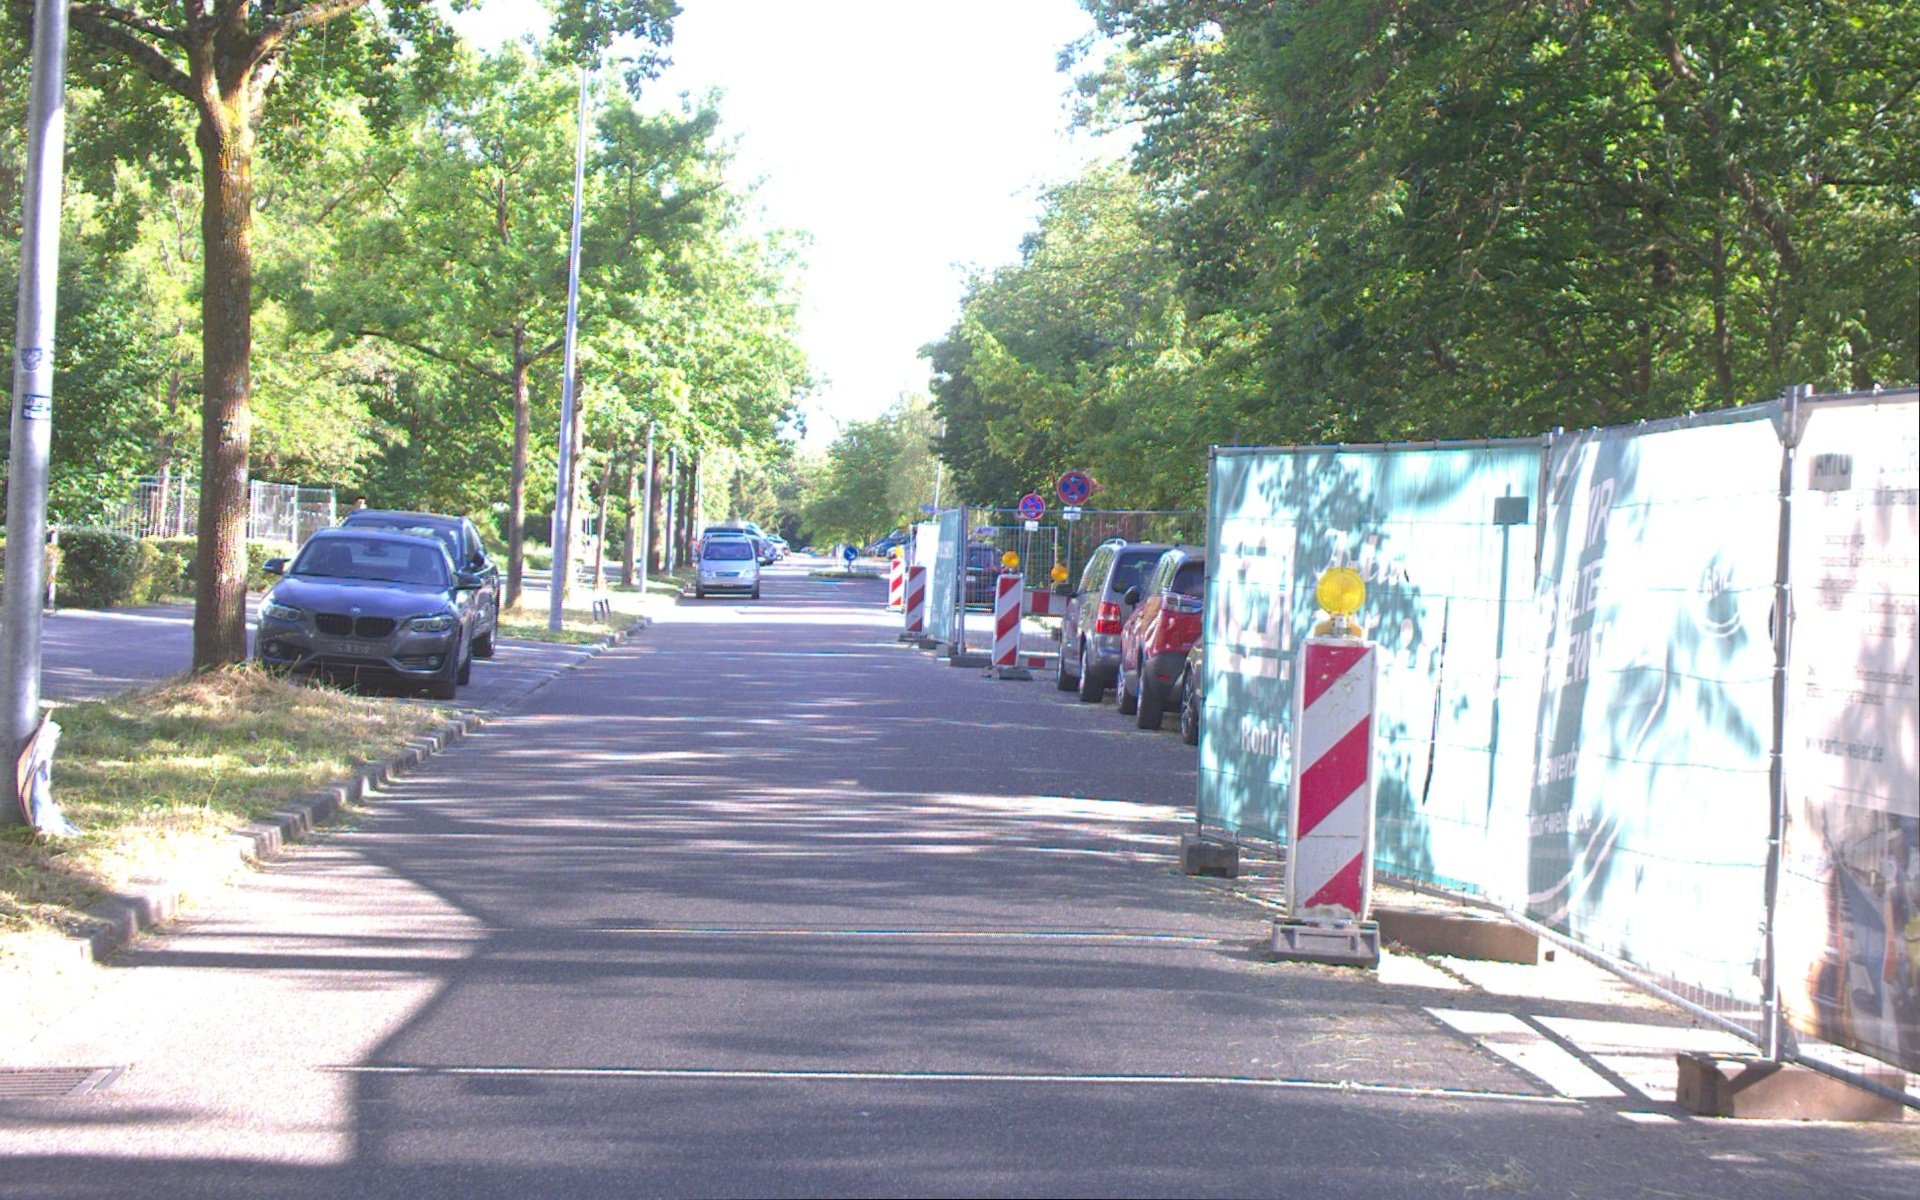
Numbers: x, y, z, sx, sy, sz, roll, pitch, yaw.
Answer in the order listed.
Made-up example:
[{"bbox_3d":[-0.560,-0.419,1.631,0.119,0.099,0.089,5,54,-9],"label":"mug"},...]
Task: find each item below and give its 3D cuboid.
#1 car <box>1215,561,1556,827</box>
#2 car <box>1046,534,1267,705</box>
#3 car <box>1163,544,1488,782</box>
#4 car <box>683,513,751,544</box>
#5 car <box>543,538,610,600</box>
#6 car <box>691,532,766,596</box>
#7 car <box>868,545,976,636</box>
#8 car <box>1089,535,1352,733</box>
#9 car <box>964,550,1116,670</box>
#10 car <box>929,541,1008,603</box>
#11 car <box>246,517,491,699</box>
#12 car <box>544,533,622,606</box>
[{"bbox_3d":[2.615,0.536,21.710,1.500,1.473,3.059,3,1,-4],"label":"car"},{"bbox_3d":[1.969,0.156,35.428,1.753,1.590,3.658,3,1,-4],"label":"car"},{"bbox_3d":[2.683,0.418,26.022,1.753,1.590,3.658,3,1,-4],"label":"car"},{"bbox_3d":[-14.447,-4.255,204.362,3.709,1.685,1.581,3,1,-13],"label":"car"},{"bbox_3d":[-8.705,-0.693,78.133,1.361,1.298,3.482,3,0,-5],"label":"car"},{"bbox_3d":[-6.189,-0.958,91.620,1.710,1.579,4.001,3,0,-6],"label":"car"},{"bbox_3d":[-0.630,-0.156,54.203,1.361,1.298,3.482,3,0,-5],"label":"car"},{"bbox_3d":[2.261,0.256,30.758,1.753,1.590,3.658,3,1,-4],"label":"car"},{"bbox_3d":[0.921,0.103,41.294,1.361,1.298,3.482,3,0,-5],"label":"car"},{"bbox_3d":[0.181,-0.708,84.253,1.794,1.405,4.000,3,1,-1],"label":"car"},{"bbox_3d":[-5.287,0.033,31.142,1.750,1.473,3.837,3,1,-4],"label":"car"},{"bbox_3d":[-7.269,-0.583,66.456,1.361,1.298,3.482,3,0,-5],"label":"car"}]
